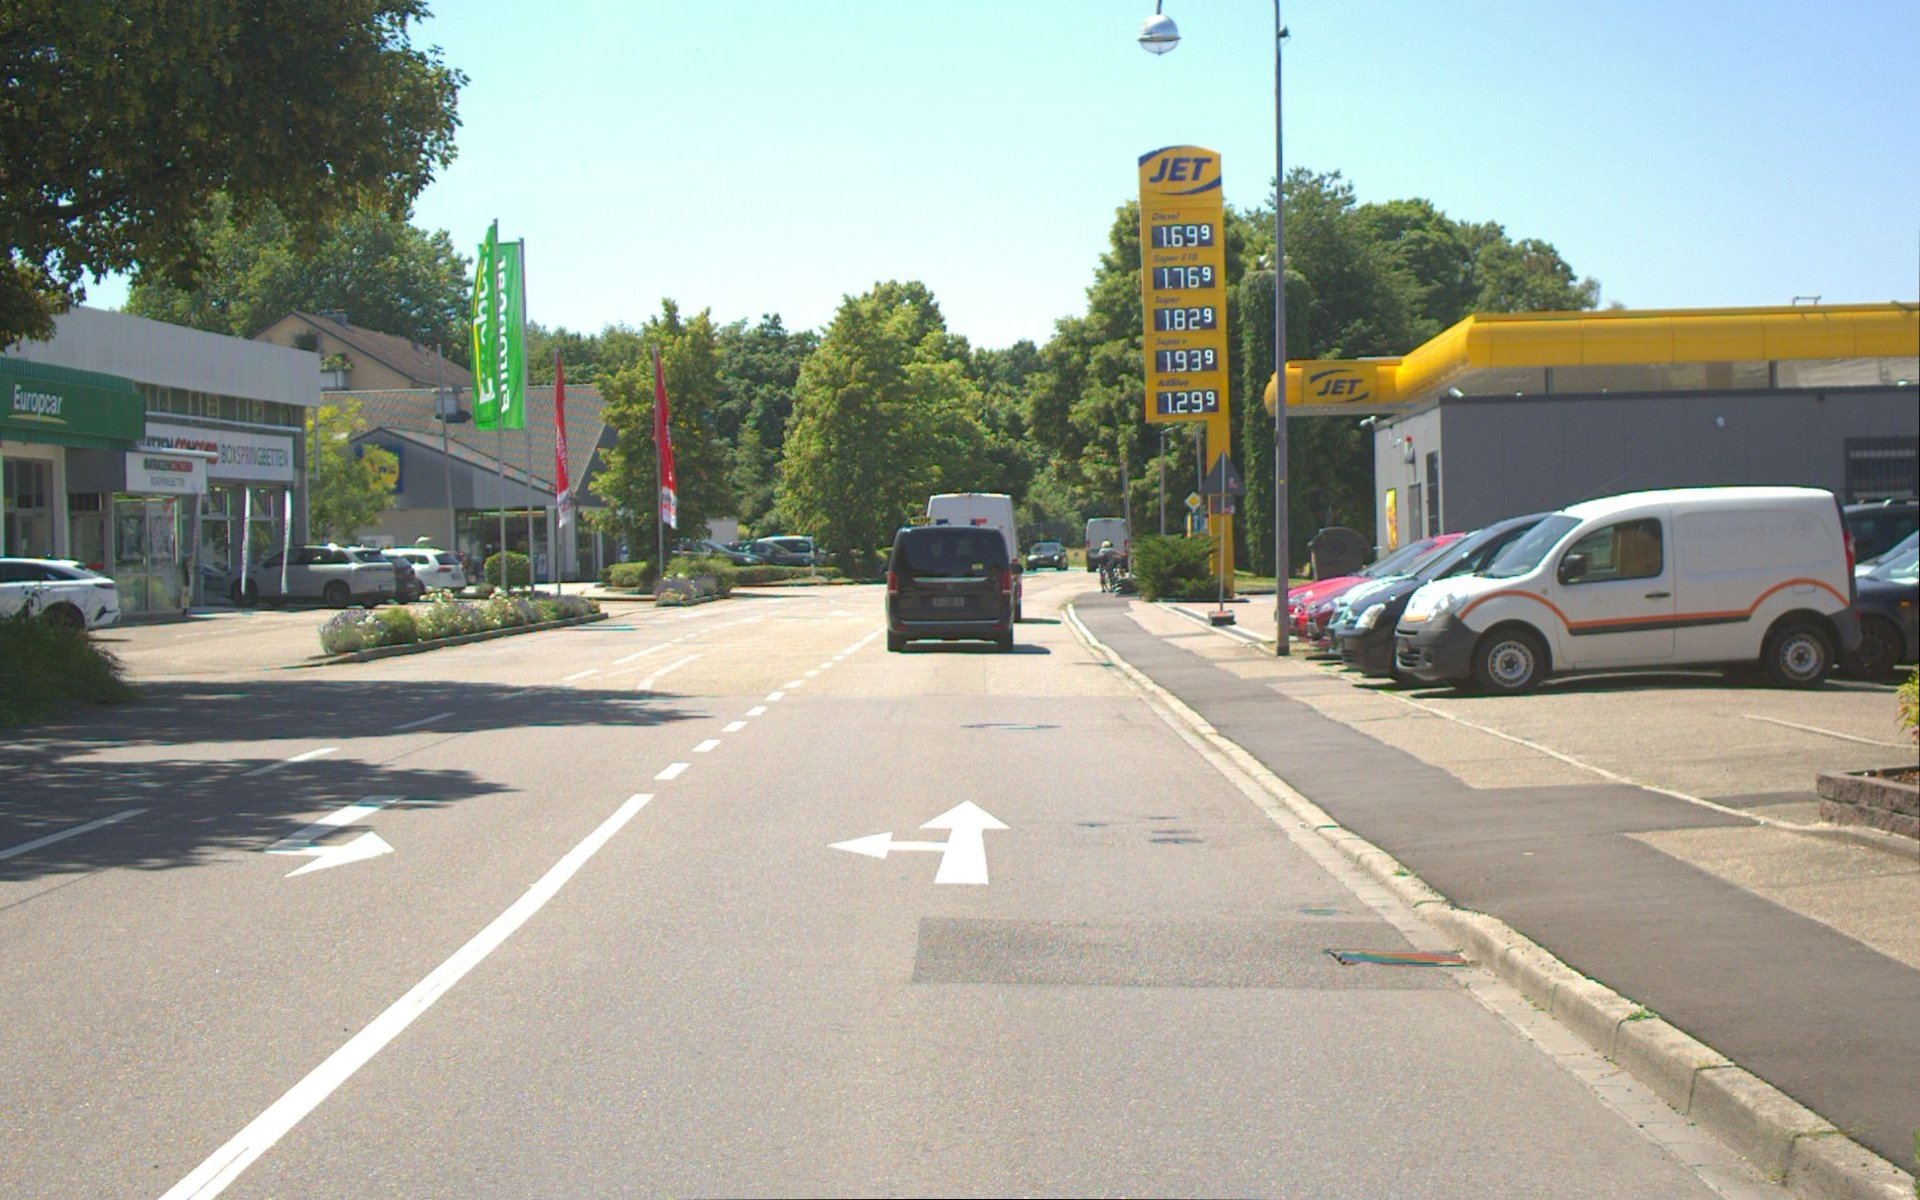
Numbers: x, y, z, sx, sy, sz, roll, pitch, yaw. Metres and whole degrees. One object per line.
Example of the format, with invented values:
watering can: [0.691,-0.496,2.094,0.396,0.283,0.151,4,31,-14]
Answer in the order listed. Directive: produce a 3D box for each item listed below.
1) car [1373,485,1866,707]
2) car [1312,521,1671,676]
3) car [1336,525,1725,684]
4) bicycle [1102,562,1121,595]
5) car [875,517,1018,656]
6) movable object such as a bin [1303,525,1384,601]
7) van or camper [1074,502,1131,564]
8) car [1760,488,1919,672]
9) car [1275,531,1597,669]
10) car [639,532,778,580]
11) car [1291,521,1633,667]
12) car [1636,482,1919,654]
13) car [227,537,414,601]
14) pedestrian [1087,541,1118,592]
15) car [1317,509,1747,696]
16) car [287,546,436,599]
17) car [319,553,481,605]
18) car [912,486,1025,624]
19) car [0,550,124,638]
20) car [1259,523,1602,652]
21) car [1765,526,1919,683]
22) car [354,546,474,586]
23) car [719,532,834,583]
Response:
car: [6.068,-0.060,31.891,4.133,1.931,1.808,-1,1,-5]
car: [5.885,-0.035,38.338,3.684,1.561,1.642,-2,1,-1]
car: [5.960,0.028,36.251,3.792,1.504,1.833,-2,1,2]
bicycle: [4.265,-0.600,96.656,0.378,0.909,1.597,0,1,8]
car: [-0.157,-0.227,51.417,1.993,1.946,5.005,1,1,1]
movable object such as a bin: [7.649,-0.747,68.665,1.434,1.433,1.468,-2,1,2]
van or camper: [6.833,-3.201,165.391,2.632,2.919,5.206,0,1,1]
car: [10.531,-0.169,35.941,3.894,1.832,1.688,2,1,2]
car: [5.906,-0.015,42.914,3.684,1.561,1.709,-2,1,-2]
car: [-9.201,-1.610,125.732,4.709,1.756,2.097,0,0,9]
car: [5.886,-0.088,40.605,3.684,1.561,1.750,-2,1,-3]
car: [10.461,-0.366,40.895,4.339,1.890,1.972,2,1,-2]
car: [-17.107,-0.839,92.014,4.535,1.658,1.998,0,1,20]
pedestrian: [4.018,-0.947,96.783,0.769,1.416,0.867,0,1,9]
car: [5.608,0.004,33.992,3.875,1.675,1.764,-2,1,-2]
car: [-16.879,-0.785,97.000,3.629,1.469,1.998,0,1,20]
car: [-16.256,-0.615,99.782,4.187,1.441,1.978,0,1,17]
car: [0.205,-0.918,70.037,2.078,2.693,4.666,1,1,2]
car: [-16.411,-0.087,57.798,4.339,1.434,1.940,-1,1,-21]
car: [6.161,-0.185,45.377,4.224,1.529,1.958,-2,1,0]
car: [10.038,0.073,33.910,3.605,1.463,1.949,2,1,-4]
car: [-21.022,-1.289,132.473,4.312,1.525,1.827,0,0,1]
car: [-7.232,-1.678,135.866,4.357,1.973,1.905,0,0,3]
